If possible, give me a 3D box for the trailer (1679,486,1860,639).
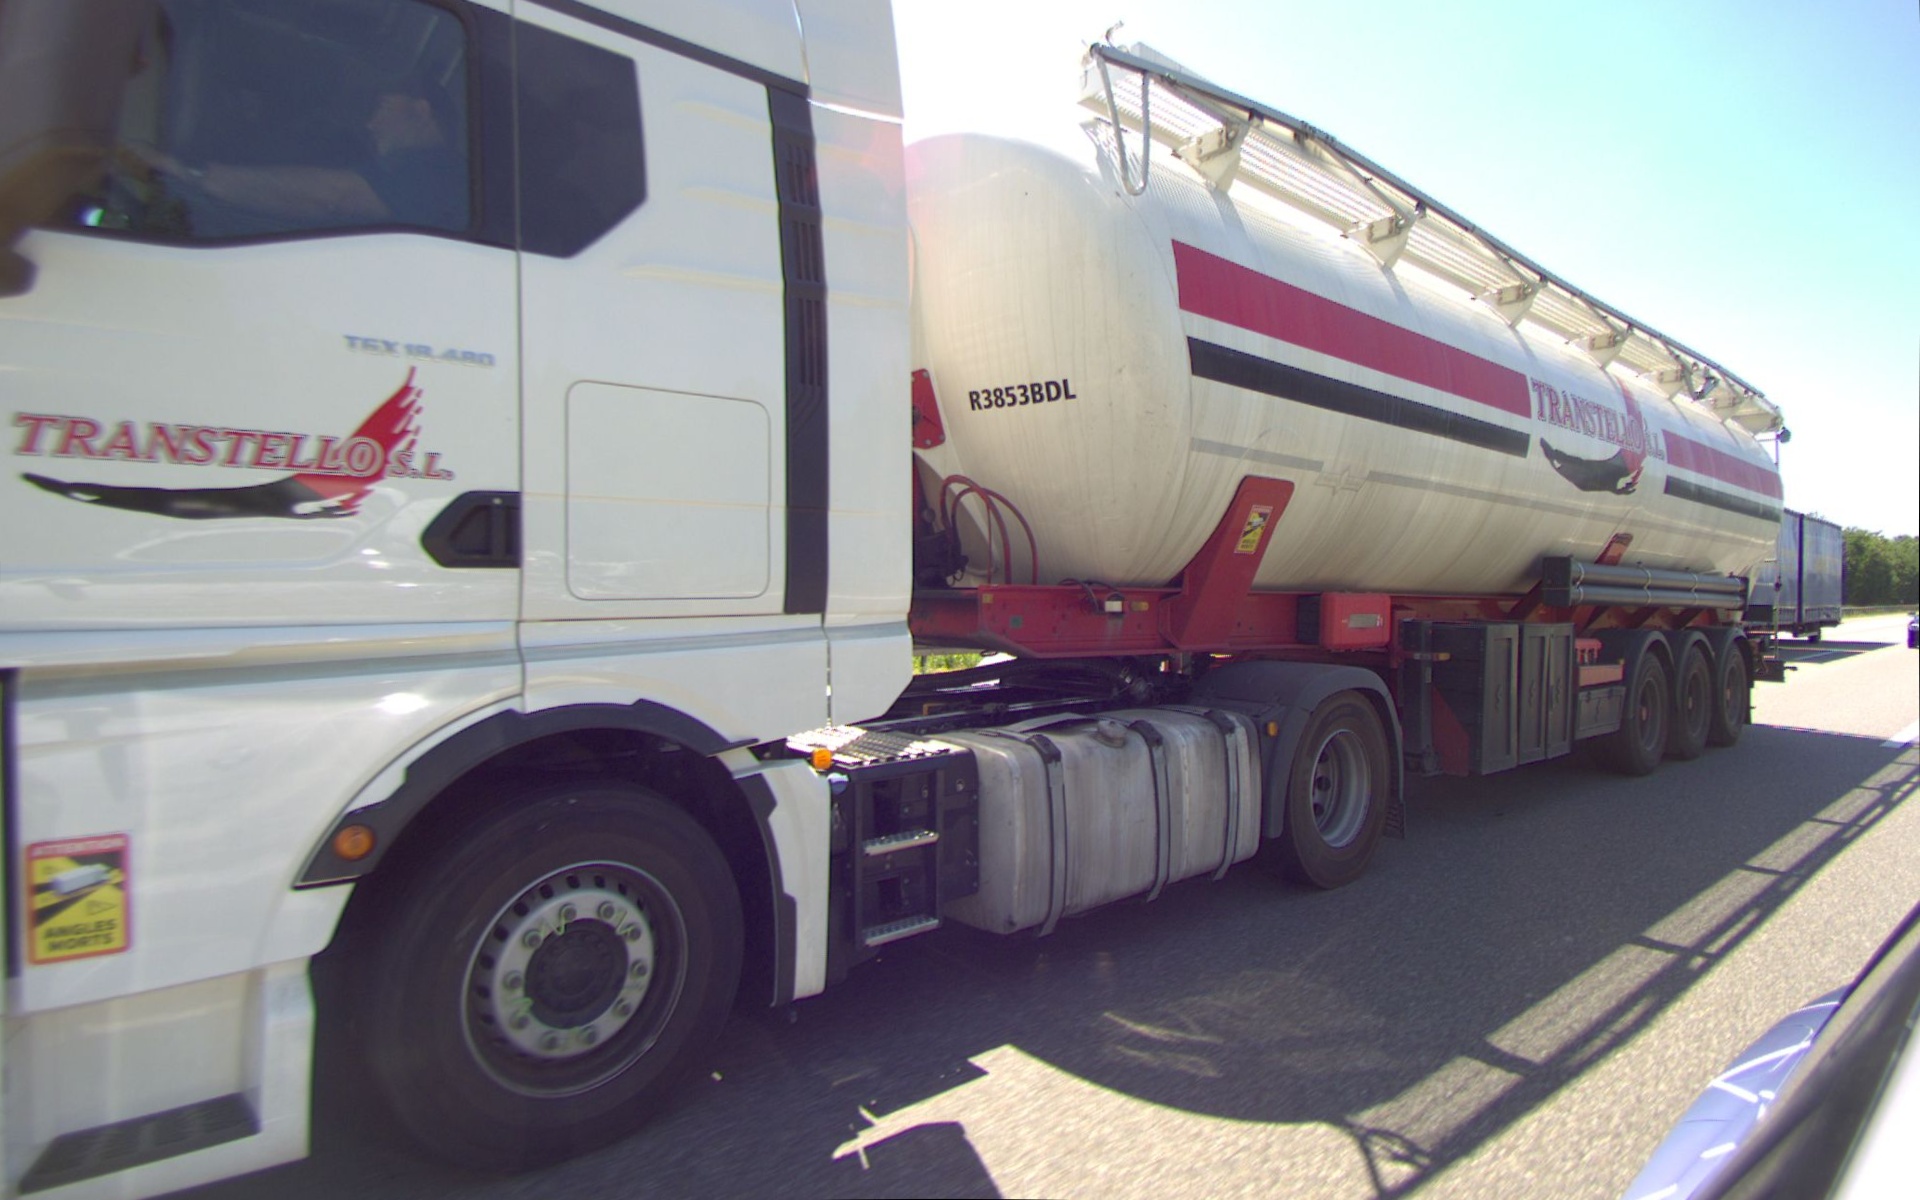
[{"bbox_3d":[26.425,-1.110,32.760,10.621,4.257,2.795,0,1,-42],"label":"trailer"}]

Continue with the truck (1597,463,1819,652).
[{"bbox_3d":[20.557,-1.028,27.439,10.622,4.257,2.794,0,1,-42],"label":"truck"}]

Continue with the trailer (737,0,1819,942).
[{"bbox_3d":[4.245,-0.930,8.703,12.134,4.257,2.796,0,1,-40],"label":"trailer"}]

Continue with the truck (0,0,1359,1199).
[{"bbox_3d":[-0.892,-0.814,4.381,4.910,4.257,2.797,0,1,-39],"label":"truck"}]
